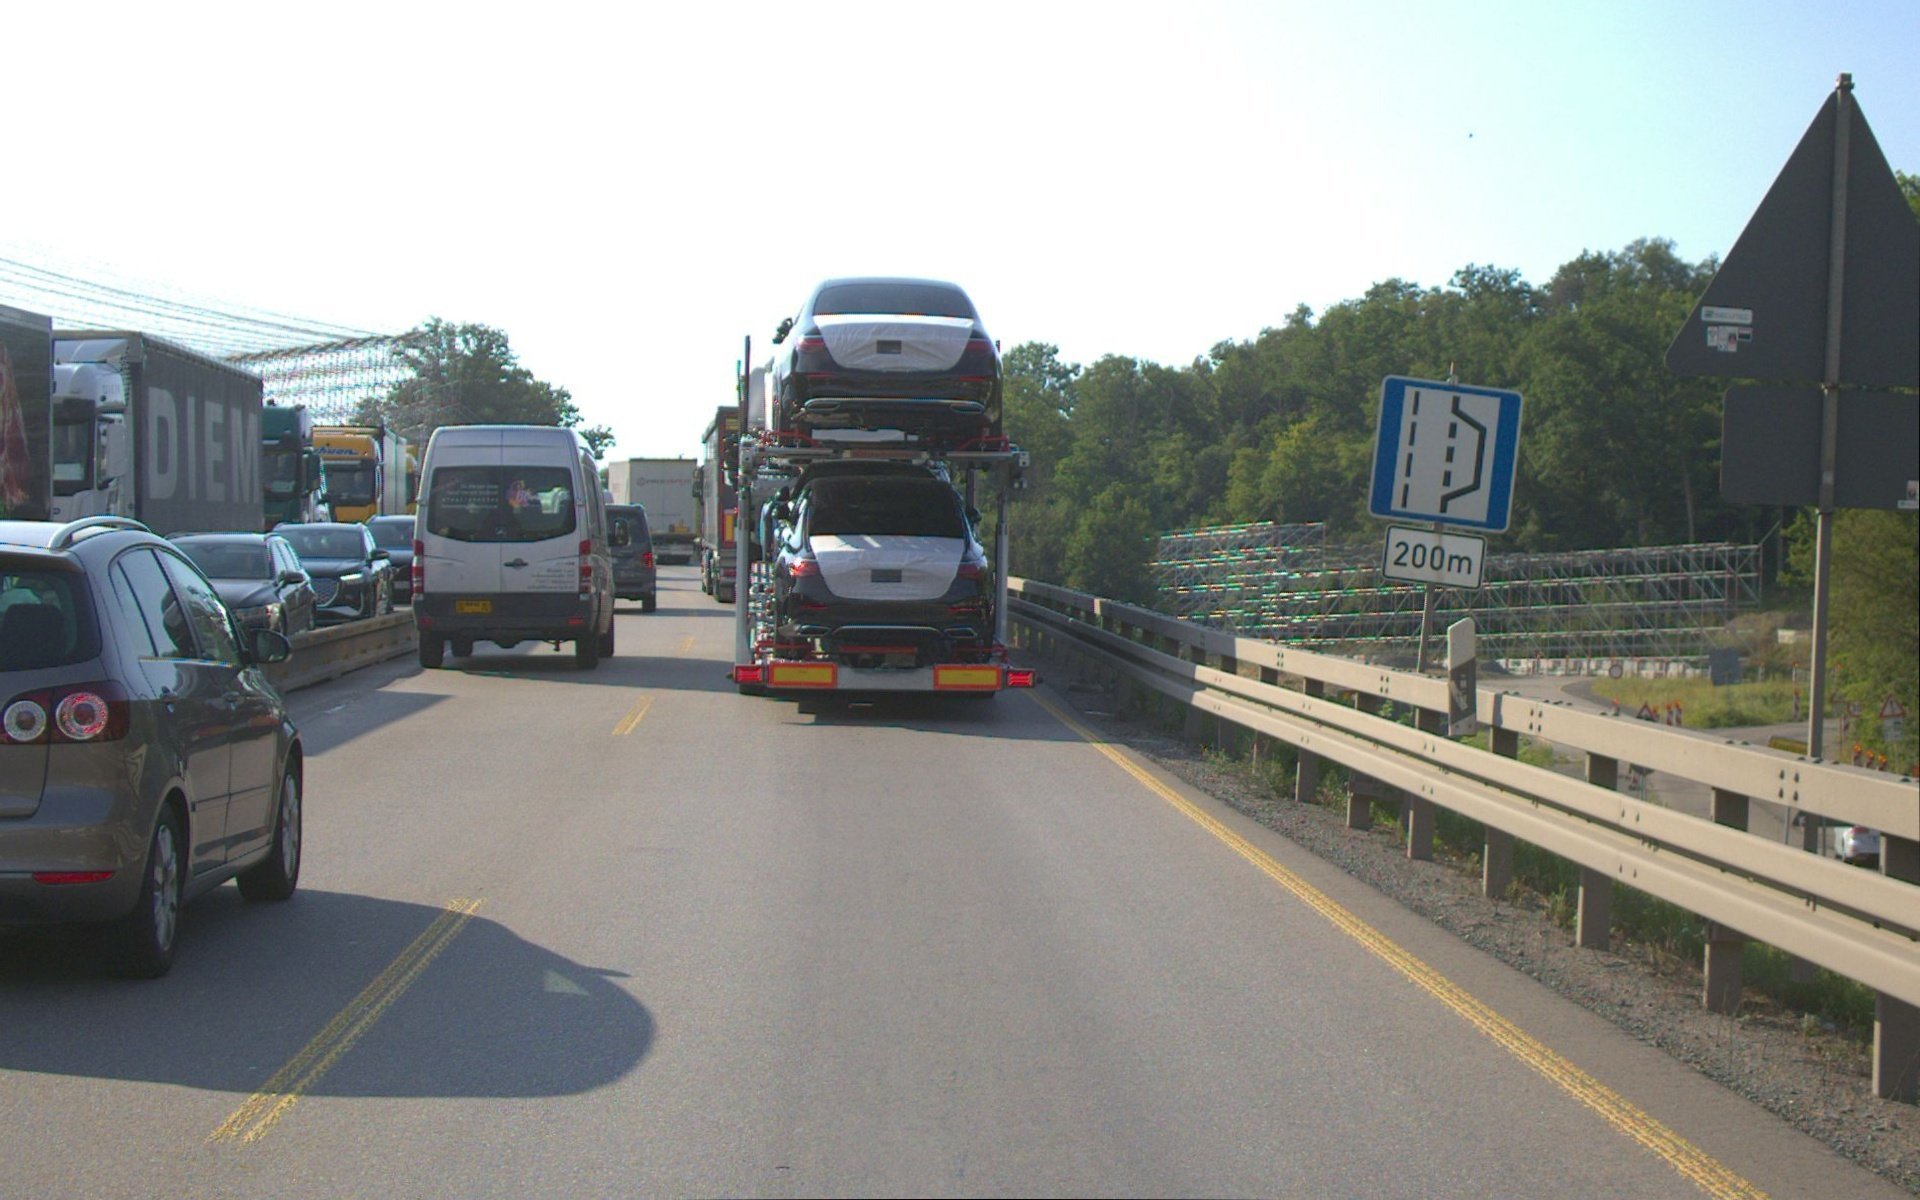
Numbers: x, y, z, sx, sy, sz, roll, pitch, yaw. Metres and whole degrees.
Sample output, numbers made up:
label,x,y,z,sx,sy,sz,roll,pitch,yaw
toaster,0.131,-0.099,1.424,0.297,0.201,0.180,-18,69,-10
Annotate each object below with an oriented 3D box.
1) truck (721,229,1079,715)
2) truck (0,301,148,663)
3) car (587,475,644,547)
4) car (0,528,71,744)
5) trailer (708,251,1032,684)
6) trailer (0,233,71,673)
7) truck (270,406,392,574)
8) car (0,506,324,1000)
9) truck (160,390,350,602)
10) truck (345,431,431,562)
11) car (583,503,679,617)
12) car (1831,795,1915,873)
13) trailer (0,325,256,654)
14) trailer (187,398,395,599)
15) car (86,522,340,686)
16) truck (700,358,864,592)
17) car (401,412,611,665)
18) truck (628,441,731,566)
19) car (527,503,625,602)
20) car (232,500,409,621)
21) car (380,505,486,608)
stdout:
label,x,y,z,sx,sy,sz,roll,pitch,yaw
truck,-0.684,-1.069,31.035,2.869,3.966,5.772,0,0,-5
truck,-11.589,-1.371,41.507,2.748,4.101,5.032,-1,1,-5
car,-10.305,-2.641,103.043,1.528,2.007,4.001,2,0,-4
car,-7.738,0.239,24.520,1.766,1.546,4.479,1,0,-2
trailer,-1.384,-1.282,39.340,2.874,3.980,15.282,0,0,-5
trailer,-11.167,-1.498,34.559,2.911,4.450,7.153,1,1,-3
truck,-15.869,-2.713,87.067,2.700,4.126,5.795,0,0,-7
car,-3.572,0.473,13.054,1.700,1.581,4.147,0,0,-2
truck,-13.372,-1.943,65.717,2.748,3.792,7.113,-1,1,-5
truck,-18.701,-3.336,112.630,2.693,4.182,4.399,0,0,-8
car,-6.132,-0.741,64.413,1.528,2.007,4.000,2,0,-3
car,21.191,5.414,79.868,1.526,1.456,4.266,0,0,10
trailer,-12.269,-1.486,49.339,2.714,4.108,12.495,-1,1,-5
trailer,-14.129,-2.085,73.864,2.748,3.802,16.050,-1,1,-5
car,-8.109,0.054,37.737,1.862,1.581,4.746,3,0,-2
truck,-3.937,-2.699,74.801,3.228,4.661,11.697,1,2,-4
car,-5.017,-0.669,38.512,1.979,2.675,4.147,0,0,-3
truck,-10.971,-3.812,135.387,3.648,4.661,11.697,1,2,-3
car,-7.865,-0.941,70.781,1.832,1.957,4.900,0,0,-4
car,-9.124,-0.567,49.409,1.876,1.600,5.369,-2,1,-4
car,-10.515,-0.851,68.844,1.823,1.927,5.131,-2,1,-7
